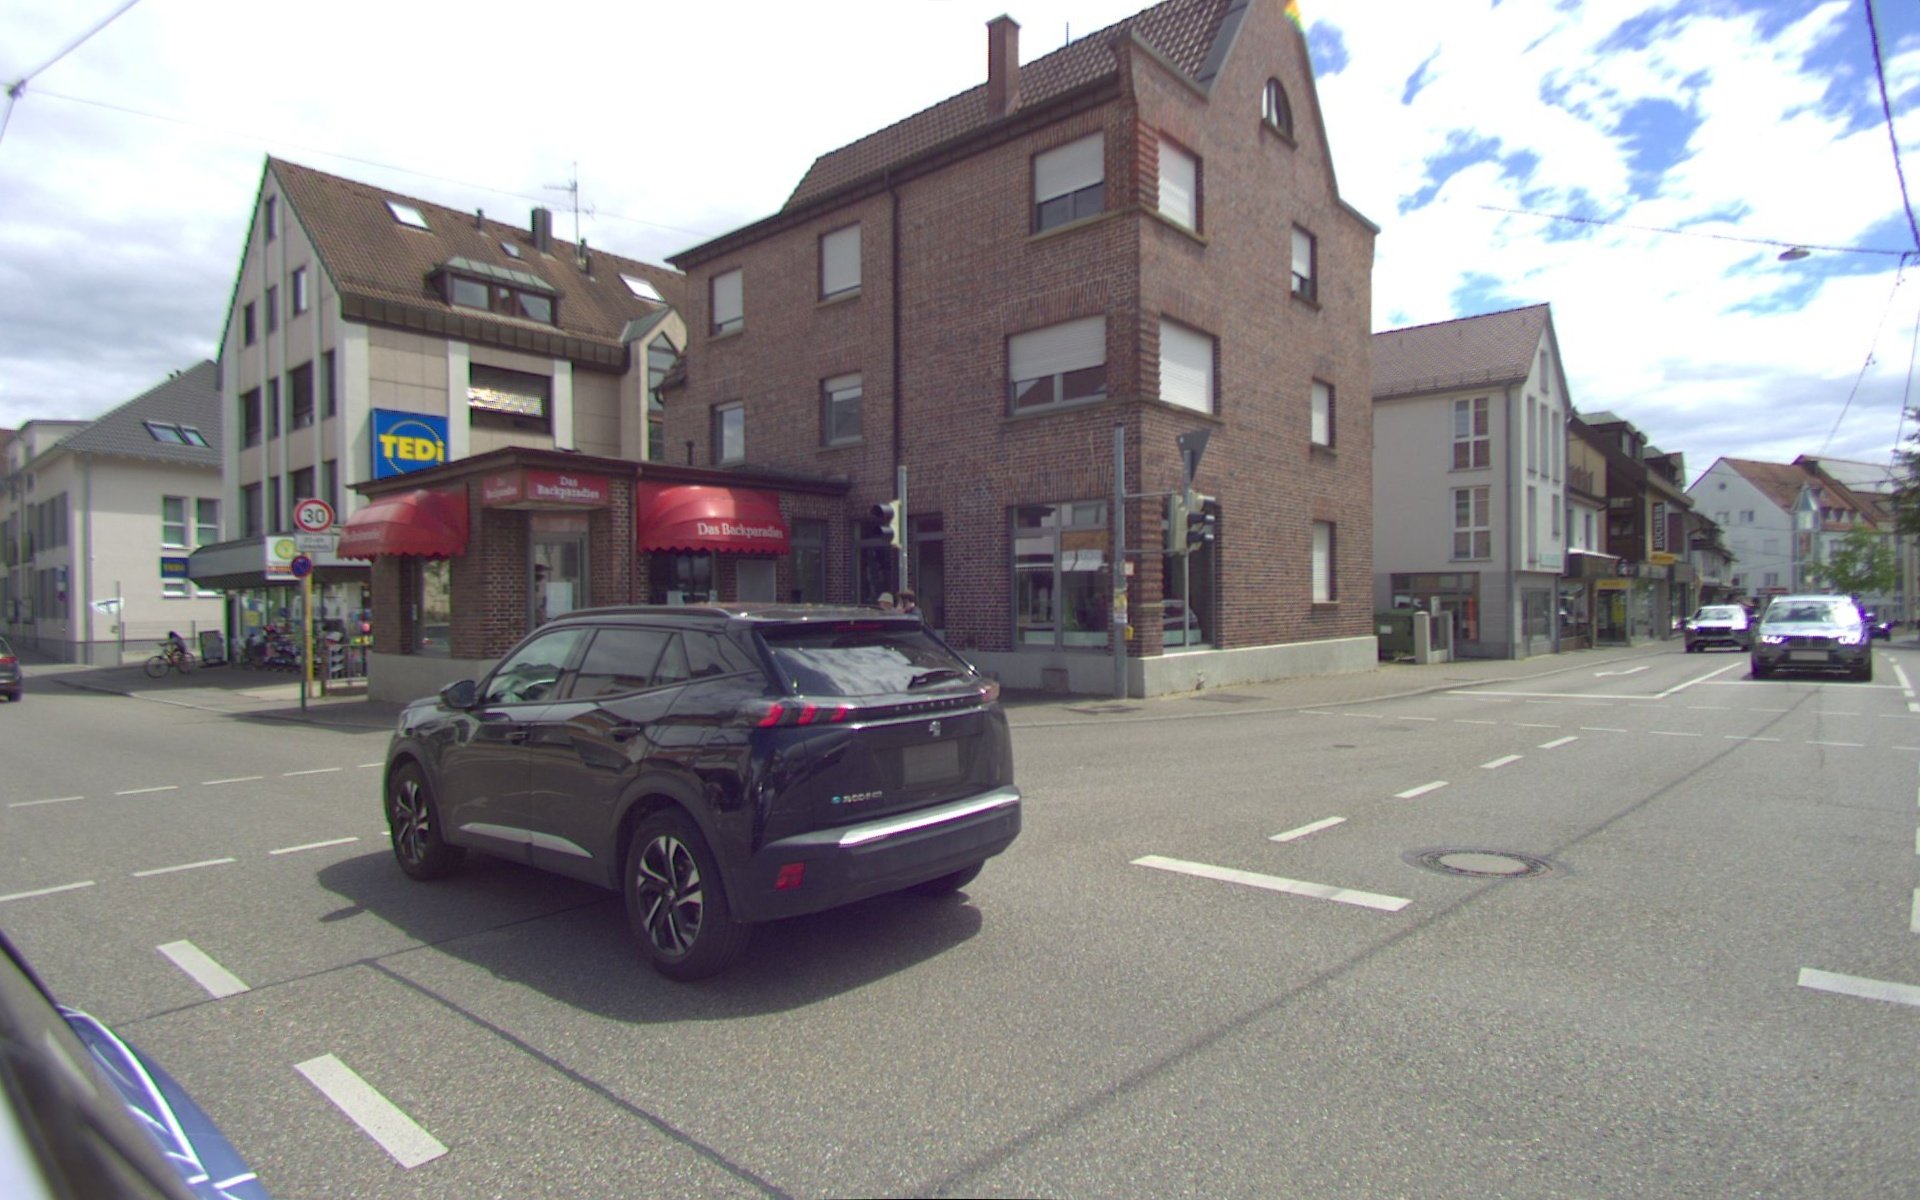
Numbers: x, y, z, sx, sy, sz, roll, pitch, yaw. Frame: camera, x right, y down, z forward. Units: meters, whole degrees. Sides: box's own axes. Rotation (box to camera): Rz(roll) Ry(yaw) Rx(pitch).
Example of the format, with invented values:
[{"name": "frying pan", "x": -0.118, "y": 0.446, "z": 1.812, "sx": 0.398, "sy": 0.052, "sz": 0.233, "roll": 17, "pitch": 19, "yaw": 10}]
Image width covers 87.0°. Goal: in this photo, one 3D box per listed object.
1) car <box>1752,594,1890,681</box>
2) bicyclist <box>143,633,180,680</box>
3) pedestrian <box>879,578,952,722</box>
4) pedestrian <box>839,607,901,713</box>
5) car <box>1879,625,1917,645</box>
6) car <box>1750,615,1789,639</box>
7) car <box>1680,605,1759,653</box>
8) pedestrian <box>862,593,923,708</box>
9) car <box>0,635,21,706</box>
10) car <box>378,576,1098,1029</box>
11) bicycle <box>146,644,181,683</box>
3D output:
[{"name": "car", "x": 17.381, "y": 0.721, "z": 20.468, "sx": 1.920, "sy": 1.586, "sz": 3.945, "roll": -2, "pitch": -2, "yaw": 41}, {"name": "bicyclist", "x": -24.131, "y": 1.700, "z": 30.589, "sx": 0.761, "sy": 1.347, "sz": 0.660, "roll": 0, "pitch": 3, "yaw": 40}, {"name": "pedestrian", "x": -0.577, "y": 0.627, "z": 13.192, "sx": 0.719, "sy": 1.810, "sz": 0.619, "roll": 0, "pitch": 1, "yaw": 38}, {"name": "pedestrian", "x": -1.317, "y": 0.860, "z": 14.856, "sx": 0.760, "sy": 1.496, "sz": 0.519, "roll": 0, "pitch": 1, "yaw": 39}, {"name": "car", "x": 72.087, "y": 2.701, "z": 77.787, "sx": 1.482, "sy": 1.490, "sz": 3.164, "roll": -2, "pitch": -2, "yaw": 31}, {"name": "car", "x": 55.901, "y": 1.836, "z": 69.846, "sx": 1.920, "sy": 1.586, "sz": 4.270, "roll": -2, "pitch": -2, "yaw": 41}, {"name": "car", "x": 26.944, "y": 0.999, "z": 35.833, "sx": 1.920, "sy": 1.586, "sz": 4.270, "roll": -2, "pitch": -2, "yaw": 41}, {"name": "pedestrian", "x": -1.018, "y": 0.741, "z": 15.313, "sx": 0.760, "sy": 1.671, "sz": 0.519, "roll": 0, "pitch": 1, "yaw": 39}, {"name": "car", "x": -23.764, "y": 1.671, "z": 23.897, "sx": 4.096, "sy": 1.602, "sz": 1.772, "roll": -3, "pitch": -2, "yaw": 39}, {"name": "car", "x": -1.416, "y": 0.748, "z": 5.328, "sx": 3.965, "sy": 1.508, "sz": 1.665, "roll": -3, "pitch": -2, "yaw": 41}, {"name": "bicycle", "x": -24.057, "y": 1.889, "z": 30.545, "sx": 1.733, "sy": 1.057, "sz": 0.439, "roll": 0, "pitch": 4, "yaw": 40}]
